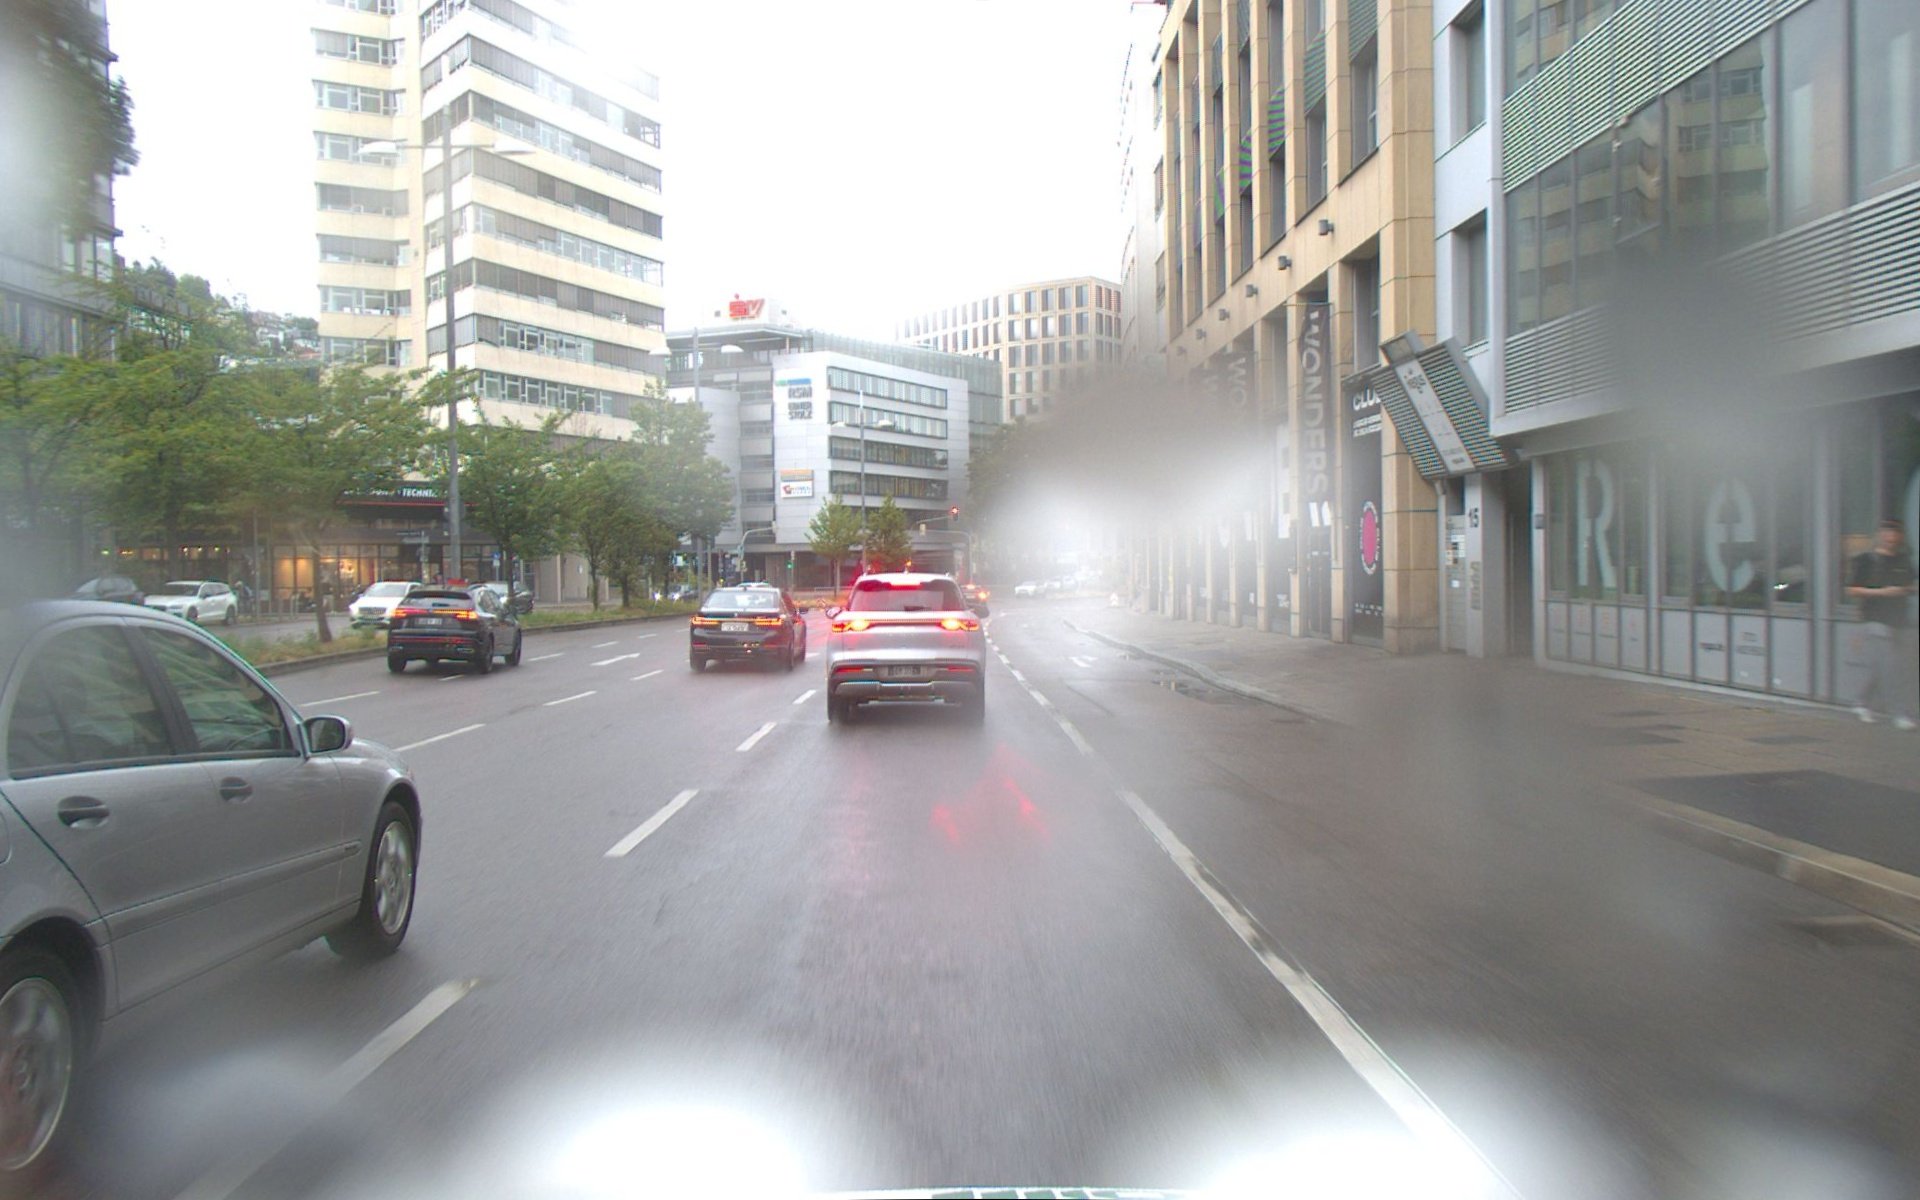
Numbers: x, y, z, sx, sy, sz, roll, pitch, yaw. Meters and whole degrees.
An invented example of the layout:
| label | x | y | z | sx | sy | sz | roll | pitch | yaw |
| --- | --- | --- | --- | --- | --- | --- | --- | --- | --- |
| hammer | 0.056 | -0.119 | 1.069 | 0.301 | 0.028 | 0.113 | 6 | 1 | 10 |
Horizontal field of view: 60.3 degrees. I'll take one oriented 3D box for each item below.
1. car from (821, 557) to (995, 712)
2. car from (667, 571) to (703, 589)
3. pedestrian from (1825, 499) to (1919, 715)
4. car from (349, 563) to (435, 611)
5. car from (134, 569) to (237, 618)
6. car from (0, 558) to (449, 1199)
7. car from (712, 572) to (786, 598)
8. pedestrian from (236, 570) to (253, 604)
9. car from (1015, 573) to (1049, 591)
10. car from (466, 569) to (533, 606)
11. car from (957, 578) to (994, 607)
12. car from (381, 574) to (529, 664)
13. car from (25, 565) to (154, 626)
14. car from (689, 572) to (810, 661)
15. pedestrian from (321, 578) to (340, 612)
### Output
| label | x | y | z | sx | sy | sz | roll | pitch | yaw |
| --- | --- | --- | --- | --- | --- | --- | --- | --- | --- |
| car | -0.591 | 0.335 | 19.702 | 1.862 | 1.649 | 3.999 | 0 | 1 | -1 |
| car | -17.810 | -1.304 | 107.173 | 1.547 | 1.109 | 4.001 | -1 | 1 | 1 |
| pedestrian | 8.000 | 0.053 | 14.285 | 0.622 | 1.803 | 0.789 | -1 | 0 | -1 |
| car | -19.212 | -0.436 | 56.092 | 1.591 | 1.518 | 4.305 | -1 | 0 | -3 |
| car | -24.850 | -0.227 | 53.211 | 1.591 | 1.486 | 3.961 | 0 | 1 | -3 |
| car | -3.000 | 0.636 | 4.955 | 1.638 | 1.505 | 4.360 | 0 | 1 | -1 |
| car | -11.232 | -0.797 | 88.033 | 3.923 | 1.365 | 1.651 | 1 | 1 | 39 |
| pedestrian | -31.818 | -0.580 | 73.586 | 0.597 | 1.530 | 0.431 | -1 | 1 | -39 |
| car | 6.718 | -1.677 | 153.151 | 1.551 | 1.565 | 3.994 | 0 | 1 | 29 |
| car | -19.297 | -0.522 | 69.447 | 1.590 | 1.478 | 4.162 | -1 | 0 | 0 |
| car | 0.924 | -0.455 | 94.490 | 1.773 | 1.606 | 4.003 | 0 | 1 | 5 |
| car | -9.025 | 0.302 | 29.859 | 1.739 | 1.482 | 3.996 | -1 | 0 | -5 |
| car | -24.708 | -0.163 | 47.087 | 1.591 | 1.639 | 4.230 | 0 | 1 | -3 |
| car | -3.901 | 0.248 | 31.380 | 1.835 | 1.504 | 4.876 | -1 | 1 | -2 |
| pedestrian | -31.984 | -0.267 | 84.059 | 0.746 | 1.743 | 0.585 | -1 | 1 | -39 |
